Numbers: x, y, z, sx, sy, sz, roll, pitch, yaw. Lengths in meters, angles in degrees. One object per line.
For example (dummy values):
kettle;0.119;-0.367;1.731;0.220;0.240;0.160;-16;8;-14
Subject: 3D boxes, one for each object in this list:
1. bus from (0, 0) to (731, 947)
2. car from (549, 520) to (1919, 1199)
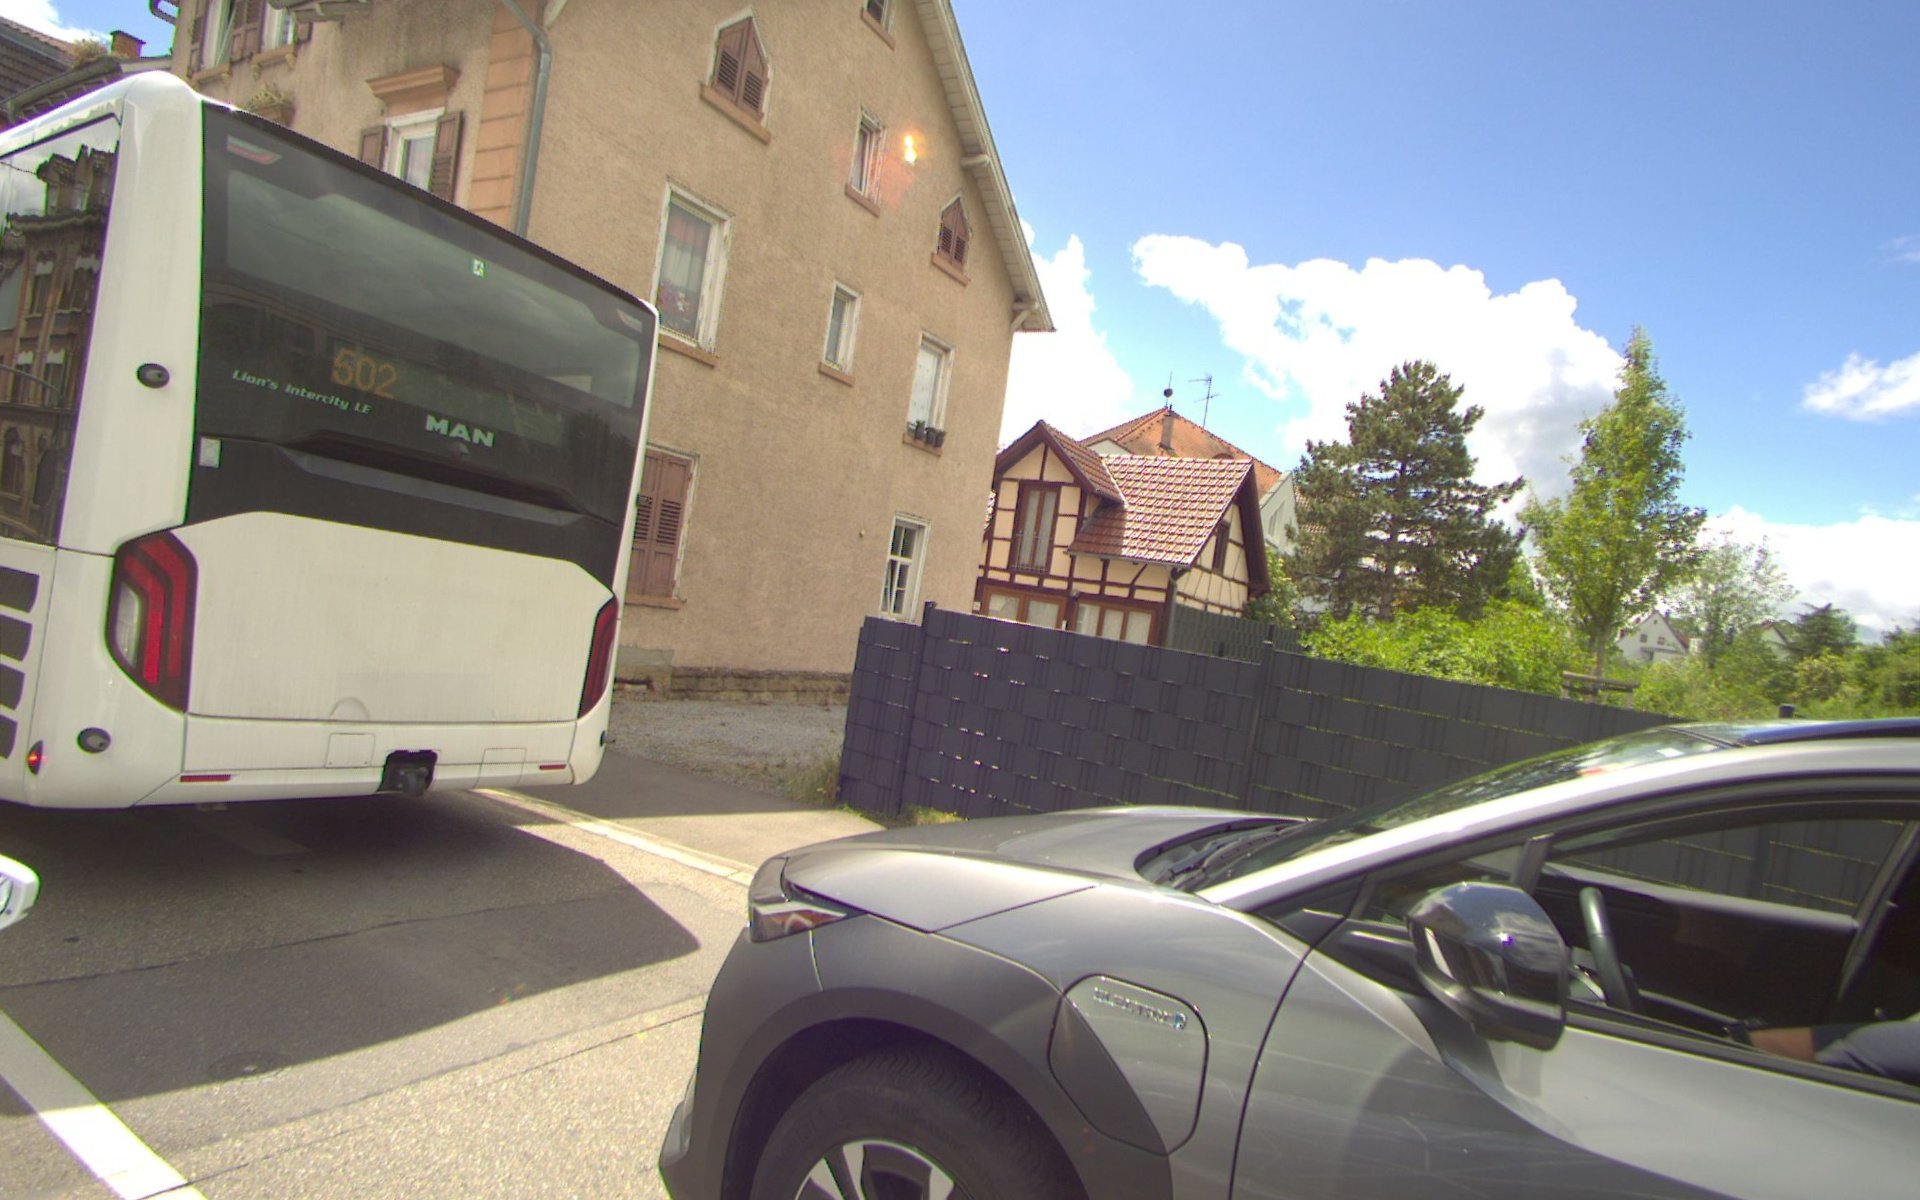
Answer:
bus;-7.468;-1.025;7.794;12.281;3.551;2.910;6;-2;32
car;1.604;0.956;1.865;4.504;1.648;1.997;7;-1;31
